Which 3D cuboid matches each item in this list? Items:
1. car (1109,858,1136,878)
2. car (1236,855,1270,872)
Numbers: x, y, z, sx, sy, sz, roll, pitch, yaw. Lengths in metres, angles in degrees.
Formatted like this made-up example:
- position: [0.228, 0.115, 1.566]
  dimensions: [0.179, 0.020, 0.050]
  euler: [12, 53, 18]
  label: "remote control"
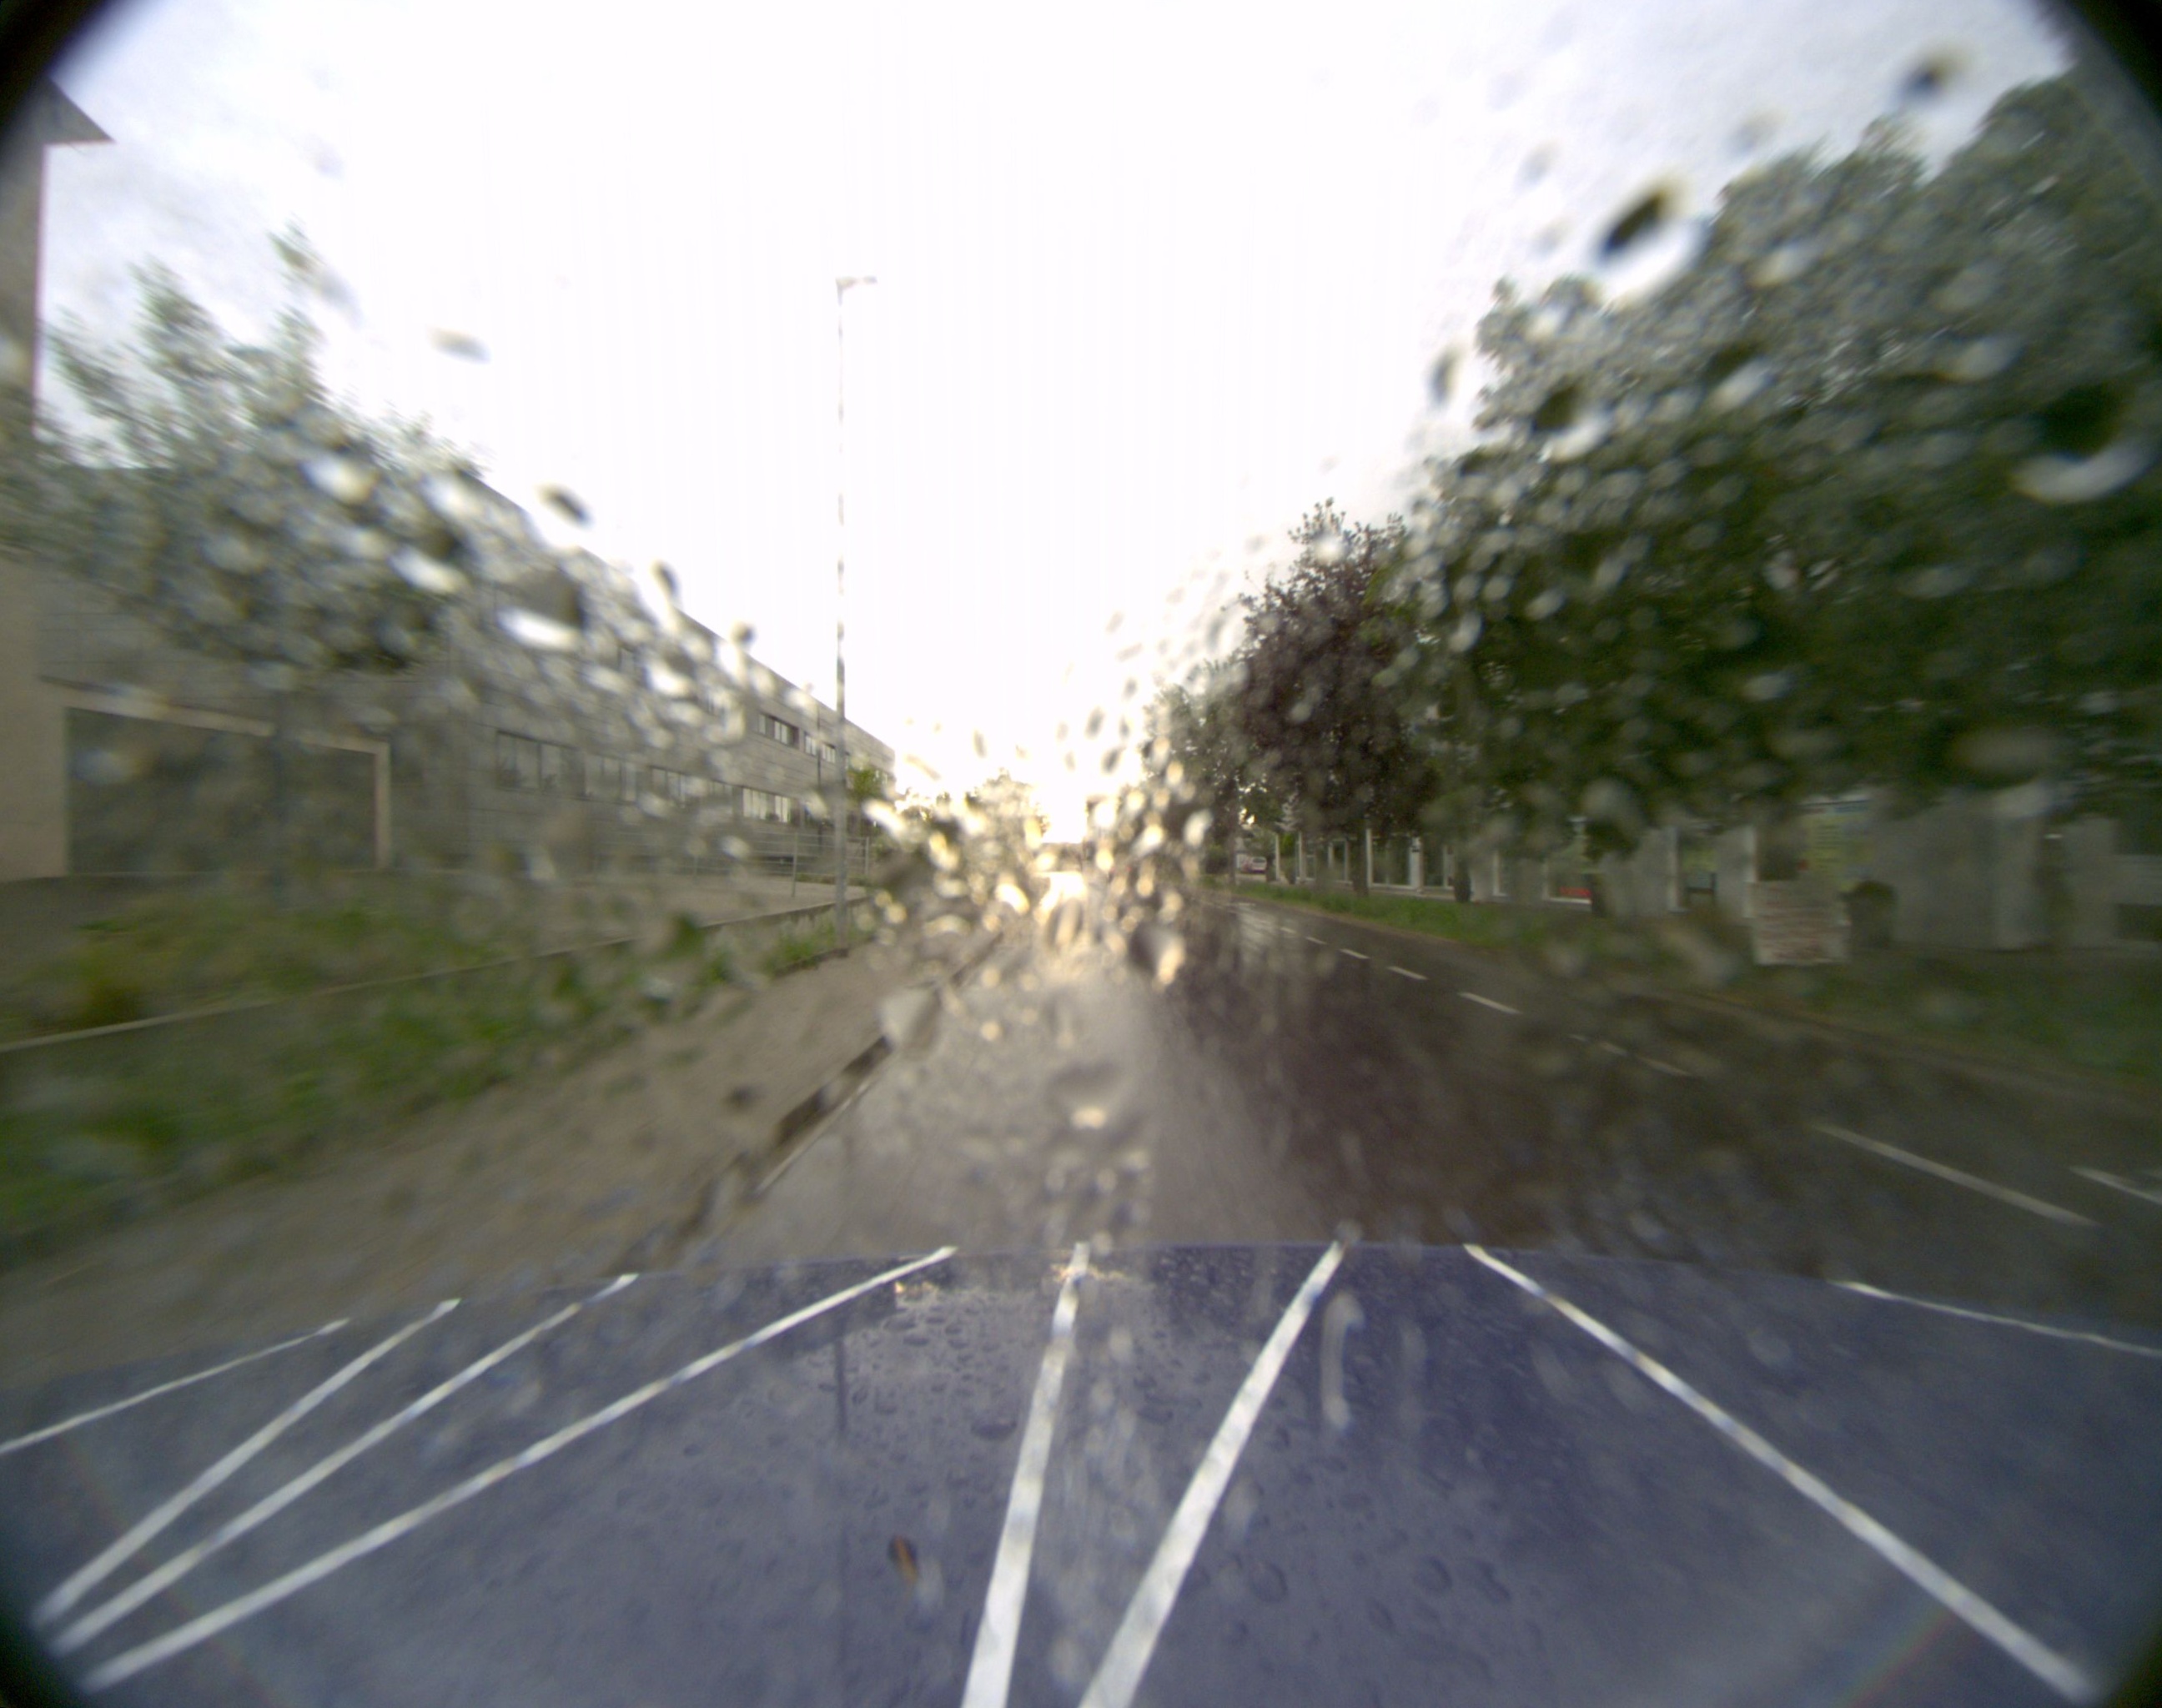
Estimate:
- position: [3.341, 1.174, 61.745]
  dimensions: [1.855, 1.545, 4.503]
  euler: [-2, -1, 0]
  label: "car"
- position: [19.310, 1.081, 85.411]
  dimensions: [2.039, 1.811, 5.608]
  euler: [-2, -2, -5]
  label: "car"
